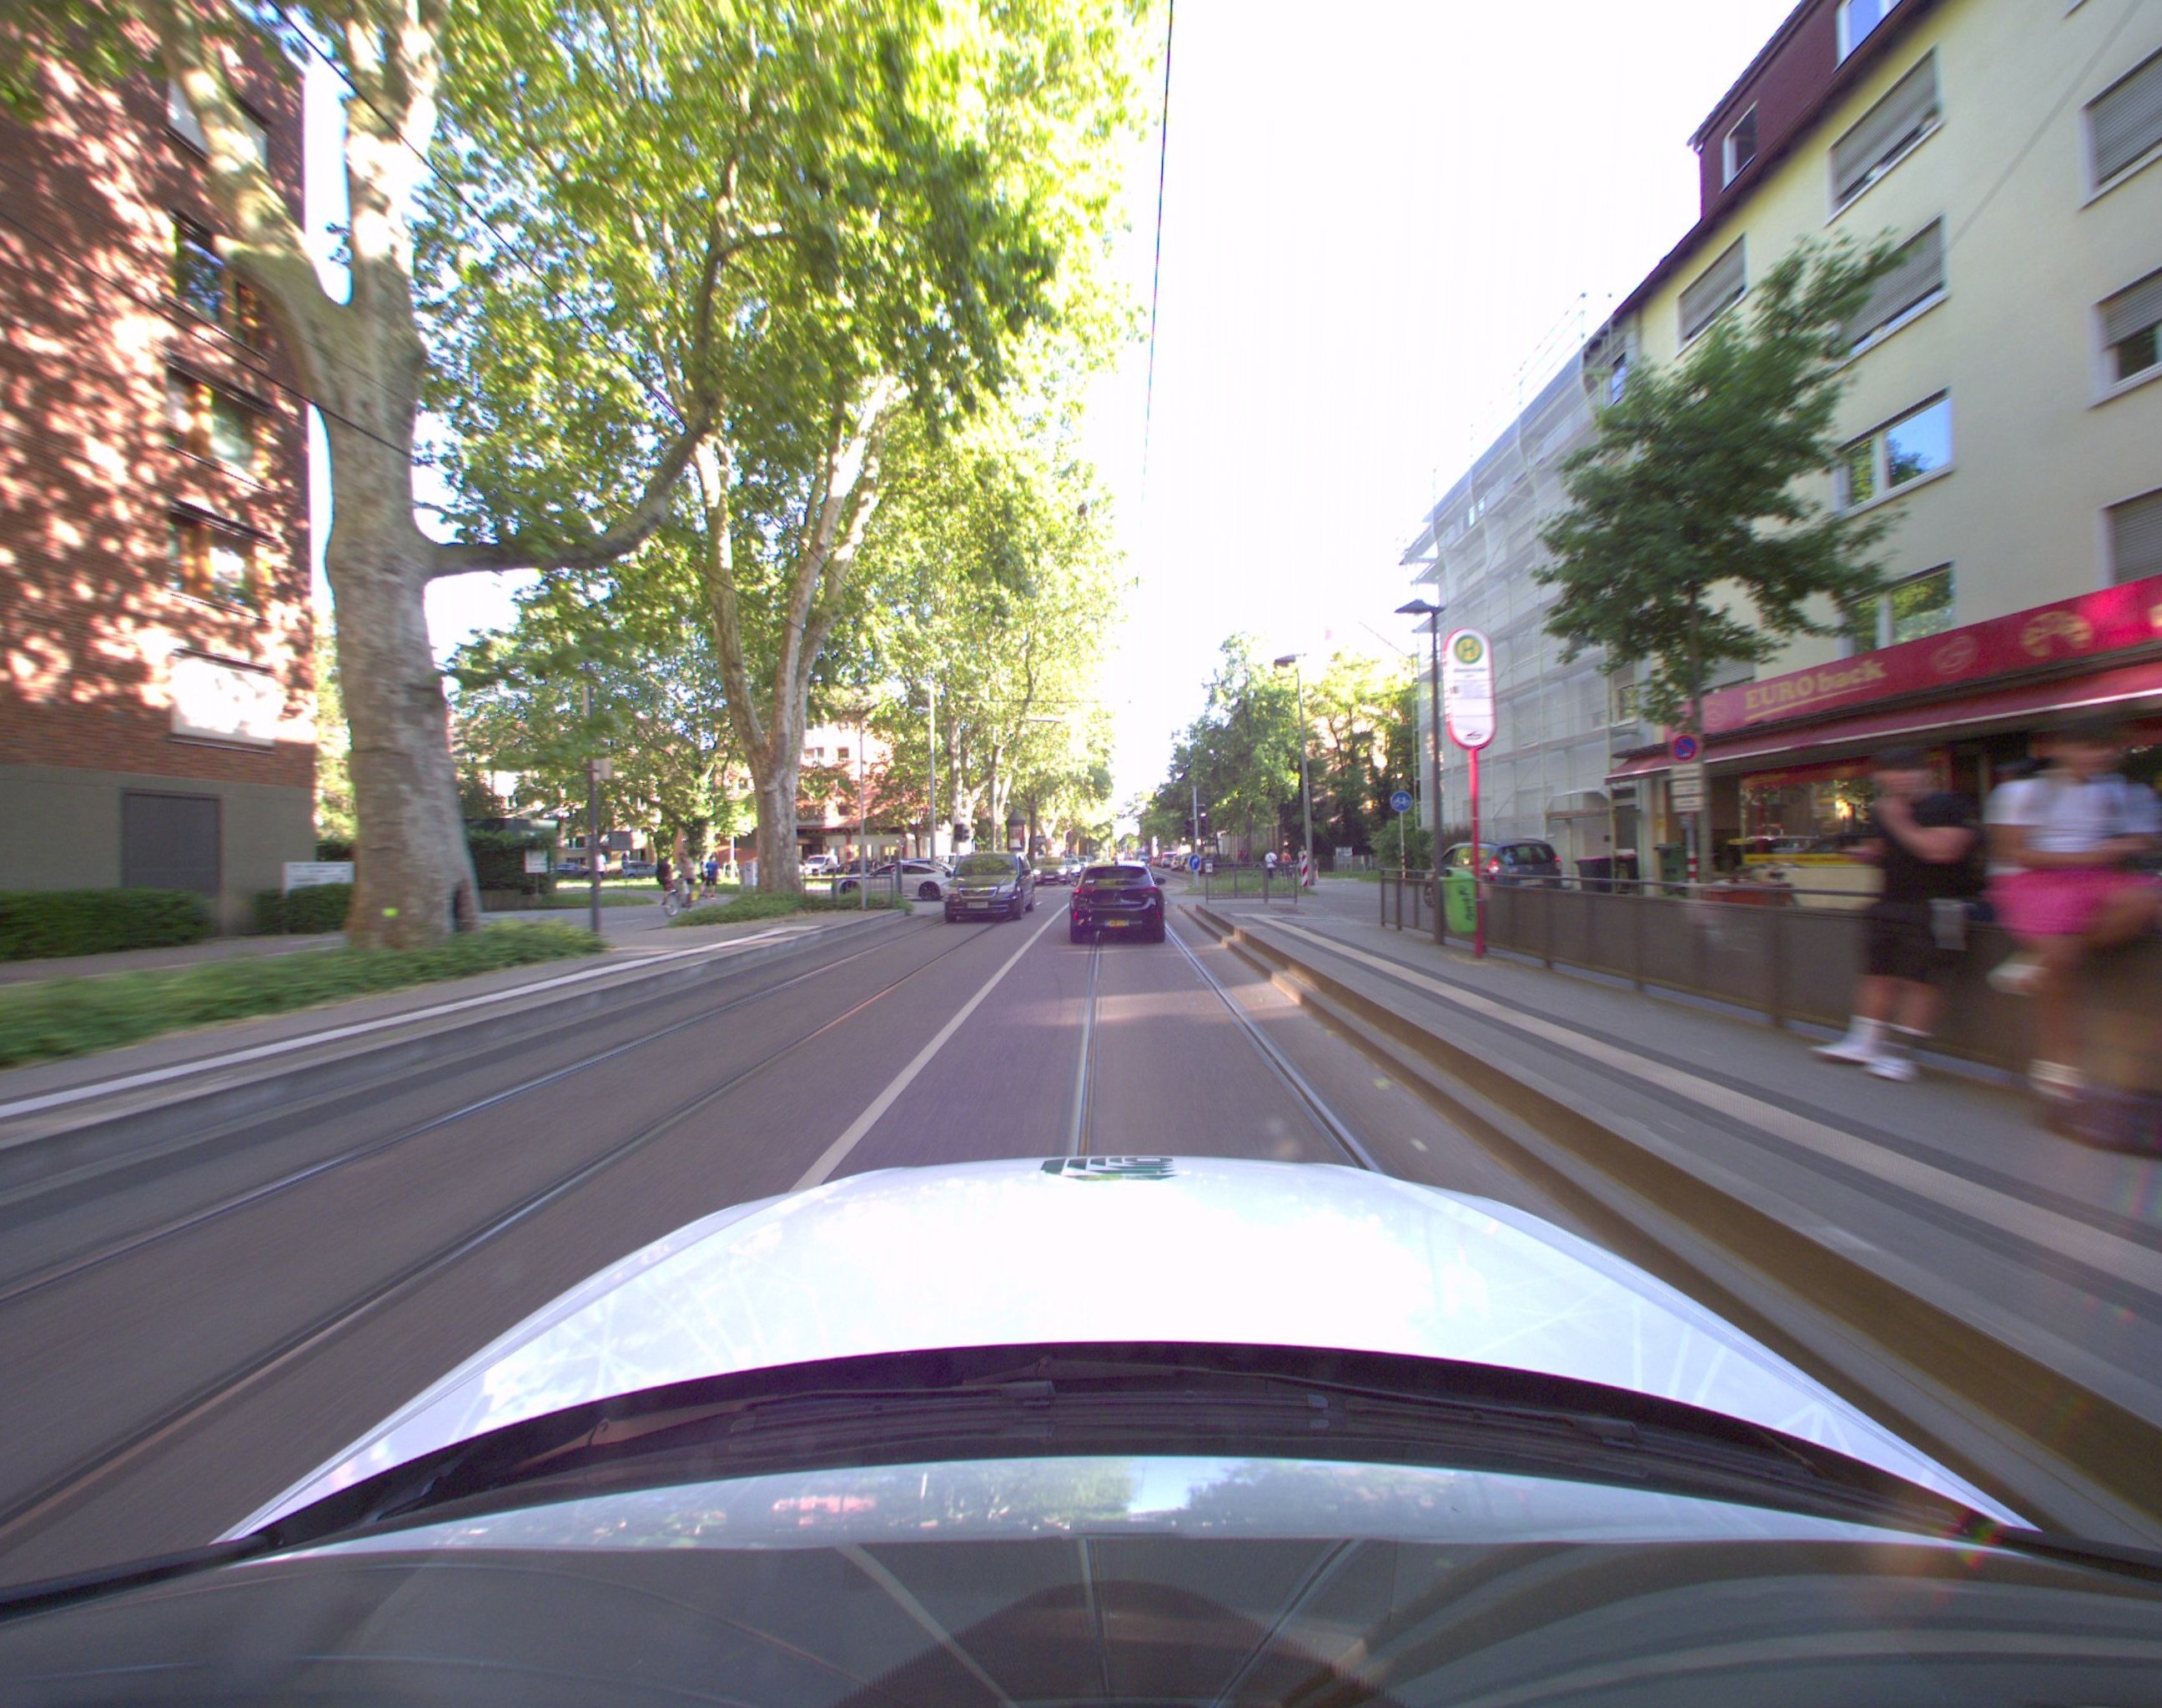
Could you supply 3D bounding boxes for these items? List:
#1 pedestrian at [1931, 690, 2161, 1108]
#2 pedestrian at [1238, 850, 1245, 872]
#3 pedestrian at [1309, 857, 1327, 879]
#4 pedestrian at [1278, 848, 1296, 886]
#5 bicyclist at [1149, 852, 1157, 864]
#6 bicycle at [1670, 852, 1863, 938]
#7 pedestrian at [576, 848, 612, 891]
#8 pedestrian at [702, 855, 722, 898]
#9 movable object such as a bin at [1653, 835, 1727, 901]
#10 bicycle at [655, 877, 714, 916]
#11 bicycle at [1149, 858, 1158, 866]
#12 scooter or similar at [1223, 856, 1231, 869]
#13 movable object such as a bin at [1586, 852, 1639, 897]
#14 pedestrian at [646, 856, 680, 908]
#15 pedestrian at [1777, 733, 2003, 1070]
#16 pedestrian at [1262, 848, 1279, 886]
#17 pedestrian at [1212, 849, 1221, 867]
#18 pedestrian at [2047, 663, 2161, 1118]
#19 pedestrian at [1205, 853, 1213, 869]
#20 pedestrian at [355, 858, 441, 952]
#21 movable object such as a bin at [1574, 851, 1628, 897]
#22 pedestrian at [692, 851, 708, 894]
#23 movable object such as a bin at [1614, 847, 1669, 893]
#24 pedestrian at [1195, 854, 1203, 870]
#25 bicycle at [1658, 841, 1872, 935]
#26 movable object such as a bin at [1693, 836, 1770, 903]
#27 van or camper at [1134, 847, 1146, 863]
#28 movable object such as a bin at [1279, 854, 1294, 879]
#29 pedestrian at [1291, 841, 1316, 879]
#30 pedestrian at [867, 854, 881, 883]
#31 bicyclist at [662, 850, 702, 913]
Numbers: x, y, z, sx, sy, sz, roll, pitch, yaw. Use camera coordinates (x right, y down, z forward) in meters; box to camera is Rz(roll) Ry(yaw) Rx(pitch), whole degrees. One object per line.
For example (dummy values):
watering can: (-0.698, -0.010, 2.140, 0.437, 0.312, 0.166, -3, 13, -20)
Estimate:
pedestrian: (4.561, 0.192, 3.819, 0.489, 1.770, 0.706, 0, -1, 16)
pedestrian: (13.311, 0.601, 67.510, 0.595, 1.793, 0.730, 0, -1, 10)
pedestrian: (12.044, 0.698, 41.377, 0.673, 1.118, 0.658, 0, -1, -6)
pedestrian: (9.907, 0.607, 39.224, 0.721, 1.793, 0.971, -3, -1, 12)
bicyclist: (9.163, 0.551, 103.539, 0.955, 1.499, 1.094, 0, -1, 0)
bicycle: (10.708, 0.616, 12.842, 0.686, 1.209, 2.192, -2, -1, -26)
pedestrian: (-20.213, 0.632, 33.806, 0.836, 1.737, 0.920, 0, -1, 17)
pedestrian: (-14.304, 0.872, 31.558, 0.697, 1.659, 0.558, 0, -1, -25)
movable object such as a bin: (13.582, 0.309, 18.188, 0.996, 1.397, 0.824, -3, -1, -1)
bicycle: (-11.427, 1.207, 23.560, 0.712, 1.063, 1.841, 0, 0, 3)
bicycle: (9.169, 1.041, 103.554, 0.964, 0.999, 2.583, 0, 0, 0)
scooter or similar: (13.825, 0.786, 77.061, 0.573, 1.246, 1.336, 0, -1, 3)
movable object such as a bin: (13.695, 0.520, 20.998, 0.878, 1.110, 0.697, -3, -1, -1)
pedestrian: (-13.585, 0.899, 26.485, 0.707, 1.673, 0.779, 0, -1, 1)
pedestrian: (4.494, 0.246, 4.562, 0.686, 1.755, 0.579, 0, -1, -5)
pedestrian: (9.101, 0.610, 39.138, 0.721, 1.793, 0.856, -3, -1, 12)
pedestrian: (13.899, 0.402, 83.621, 0.603, 1.793, 0.721, 0, -1, -34)
pedestrian: (4.456, 0.135, 3.060, 0.843, 1.701, 0.692, 0, -1, -5)
pedestrian: (13.703, 0.788, 87.202, 0.723, 1.709, 0.856, 0, -1, 1)
pedestrian: (-12.664, 0.919, 15.129, 0.735, 1.672, 0.969, 0, -1, 3)
movable object such as a bin: (13.040, 0.499, 20.435, 0.878, 1.110, 0.697, -3, -1, -1)
pedestrian: (-15.143, 0.736, 32.382, 0.535, 1.705, 0.587, 0, -1, -30)
movable object such as a bin: (14.424, 0.404, 20.976, 0.878, 1.110, 0.697, -3, -1, -1)
pedestrian: (12.691, 0.825, 87.365, 0.723, 1.693, 0.957, 0, -2, 1)
bicycle: (9.913, 0.476, 11.888, 2.196, 1.209, 1.030, -3, -1, 1)
movable object such as a bin: (13.821, 0.320, 17.314, 0.920, 1.350, 0.824, -3, -1, -1)
van or camper: (12.651, 0.246, 174.379, 2.246, 3.216, 5.533, -2, -1, 2)
movable object such as a bin: (10.123, 0.613, 40.123, 0.634, 1.202, 1.309, -3, 0, 12)
pedestrian: (11.290, 0.304, 41.339, 0.869, 1.885, 0.992, 0, -1, -16)
pedestrian: (-13.087, 0.918, 51.578, 0.640, 1.809, 0.753, 0, -1, 7)
bicyclist: (-11.449, 0.777, 23.367, 0.697, 1.788, 0.839, 0, -1, 3)
